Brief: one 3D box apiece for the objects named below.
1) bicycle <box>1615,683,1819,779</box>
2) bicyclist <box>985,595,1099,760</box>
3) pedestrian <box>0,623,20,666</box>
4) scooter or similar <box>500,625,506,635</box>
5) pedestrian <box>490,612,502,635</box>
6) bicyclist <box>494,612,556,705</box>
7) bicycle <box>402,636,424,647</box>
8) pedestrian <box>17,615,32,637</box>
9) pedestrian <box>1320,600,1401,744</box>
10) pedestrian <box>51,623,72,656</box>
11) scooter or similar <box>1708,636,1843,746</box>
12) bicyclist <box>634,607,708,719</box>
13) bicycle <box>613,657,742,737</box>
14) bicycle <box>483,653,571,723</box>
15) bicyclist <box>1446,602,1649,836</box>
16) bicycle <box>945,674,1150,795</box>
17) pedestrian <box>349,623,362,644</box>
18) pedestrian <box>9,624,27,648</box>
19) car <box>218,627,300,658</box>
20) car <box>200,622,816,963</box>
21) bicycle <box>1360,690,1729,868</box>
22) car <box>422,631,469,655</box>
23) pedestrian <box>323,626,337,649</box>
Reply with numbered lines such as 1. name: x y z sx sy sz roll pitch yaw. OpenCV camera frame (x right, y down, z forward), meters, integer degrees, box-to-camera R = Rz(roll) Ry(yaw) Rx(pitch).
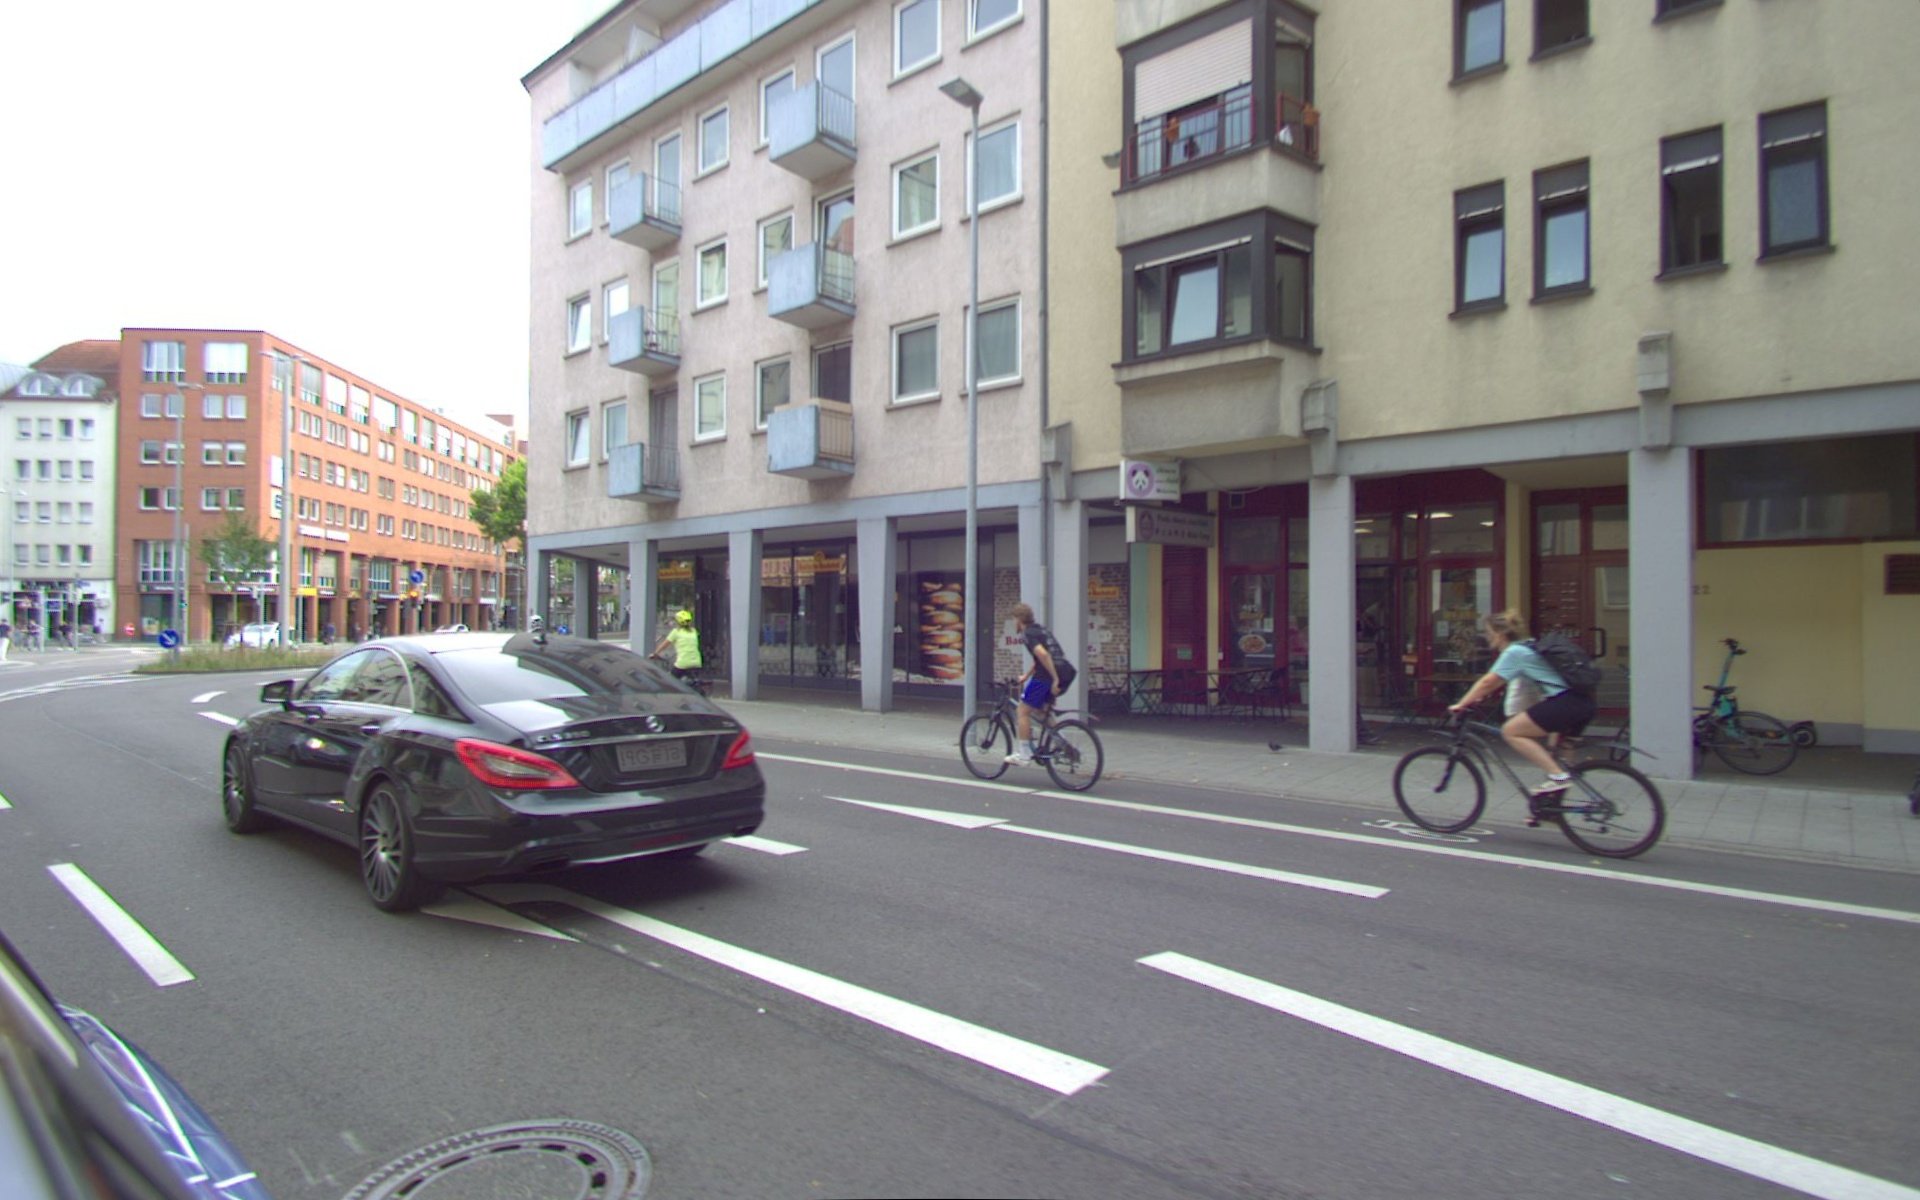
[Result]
1. bicycle: 7.636 1.297 10.261 1.618 0.827 0.425 -1 -2 42
2. bicyclist: 0.809 0.742 10.009 0.649 1.537 0.857 -1 -2 -45
3. pedestrian: -45.259 2.116 48.114 0.710 1.986 1.015 5 -5 -41
4. scooter or similar: -54.630 3.567 120.962 0.268 1.267 0.922 0 -2 -4
5. pedestrian: -38.711 1.975 84.431 0.683 1.889 0.807 0 -2 -4
6. bicyclist: -7.472 0.979 17.378 0.649 1.537 1.003 -1 0 -45
7. bicycle: -52.890 3.976 97.917 1.833 1.048 0.508 0 -2 -4
8. pedestrian: -63.460 1.772 68.622 0.628 1.523 0.586 -2 -3 33
9. pedestrian: 5.126 0.899 12.961 0.783 1.770 0.575 -1 0 41
10. pedestrian: -50.586 2.201 56.981 0.560 1.838 0.696 0 -3 -5
11. scooter or similar: 9.336 1.018 11.622 1.175 1.211 0.283 -1 -2 38
12. bicyclist: -4.123 0.885 14.436 0.649 1.537 0.841 -1 -2 -45
13. bicycle: -4.044 1.338 14.360 0.729 1.014 2.253 -1 -2 -45
14. bicycle: -7.408 1.473 17.268 0.729 1.014 1.910 1 0 -45
15. bicyclist: 4.230 0.811 7.312 0.649 1.537 1.077 -1 -2 -45
16. bicycle: 0.826 1.275 10.016 1.976 1.014 0.729 -3 -2 44
17. pedestrian: -50.020 2.783 83.790 0.637 1.709 0.699 1 -1 -7
18. pedestrian: -64.432 2.450 69.215 0.719 1.660 0.699 -2 -3 33
19. car: -38.129 2.282 55.170 1.929 1.613 4.004 0 -1 -4
20. car: -3.115 0.860 6.423 4.606 1.418 1.791 -1 -2 41
21. bicycle: 4.179 1.218 7.398 2.195 1.014 0.729 -3 -2 44
22. car: -41.873 3.483 82.463 1.971 1.893 4.002 0 -1 -3
23. pedestrian: -48.271 2.878 77.543 0.631 1.700 0.601 0 -2 -5
